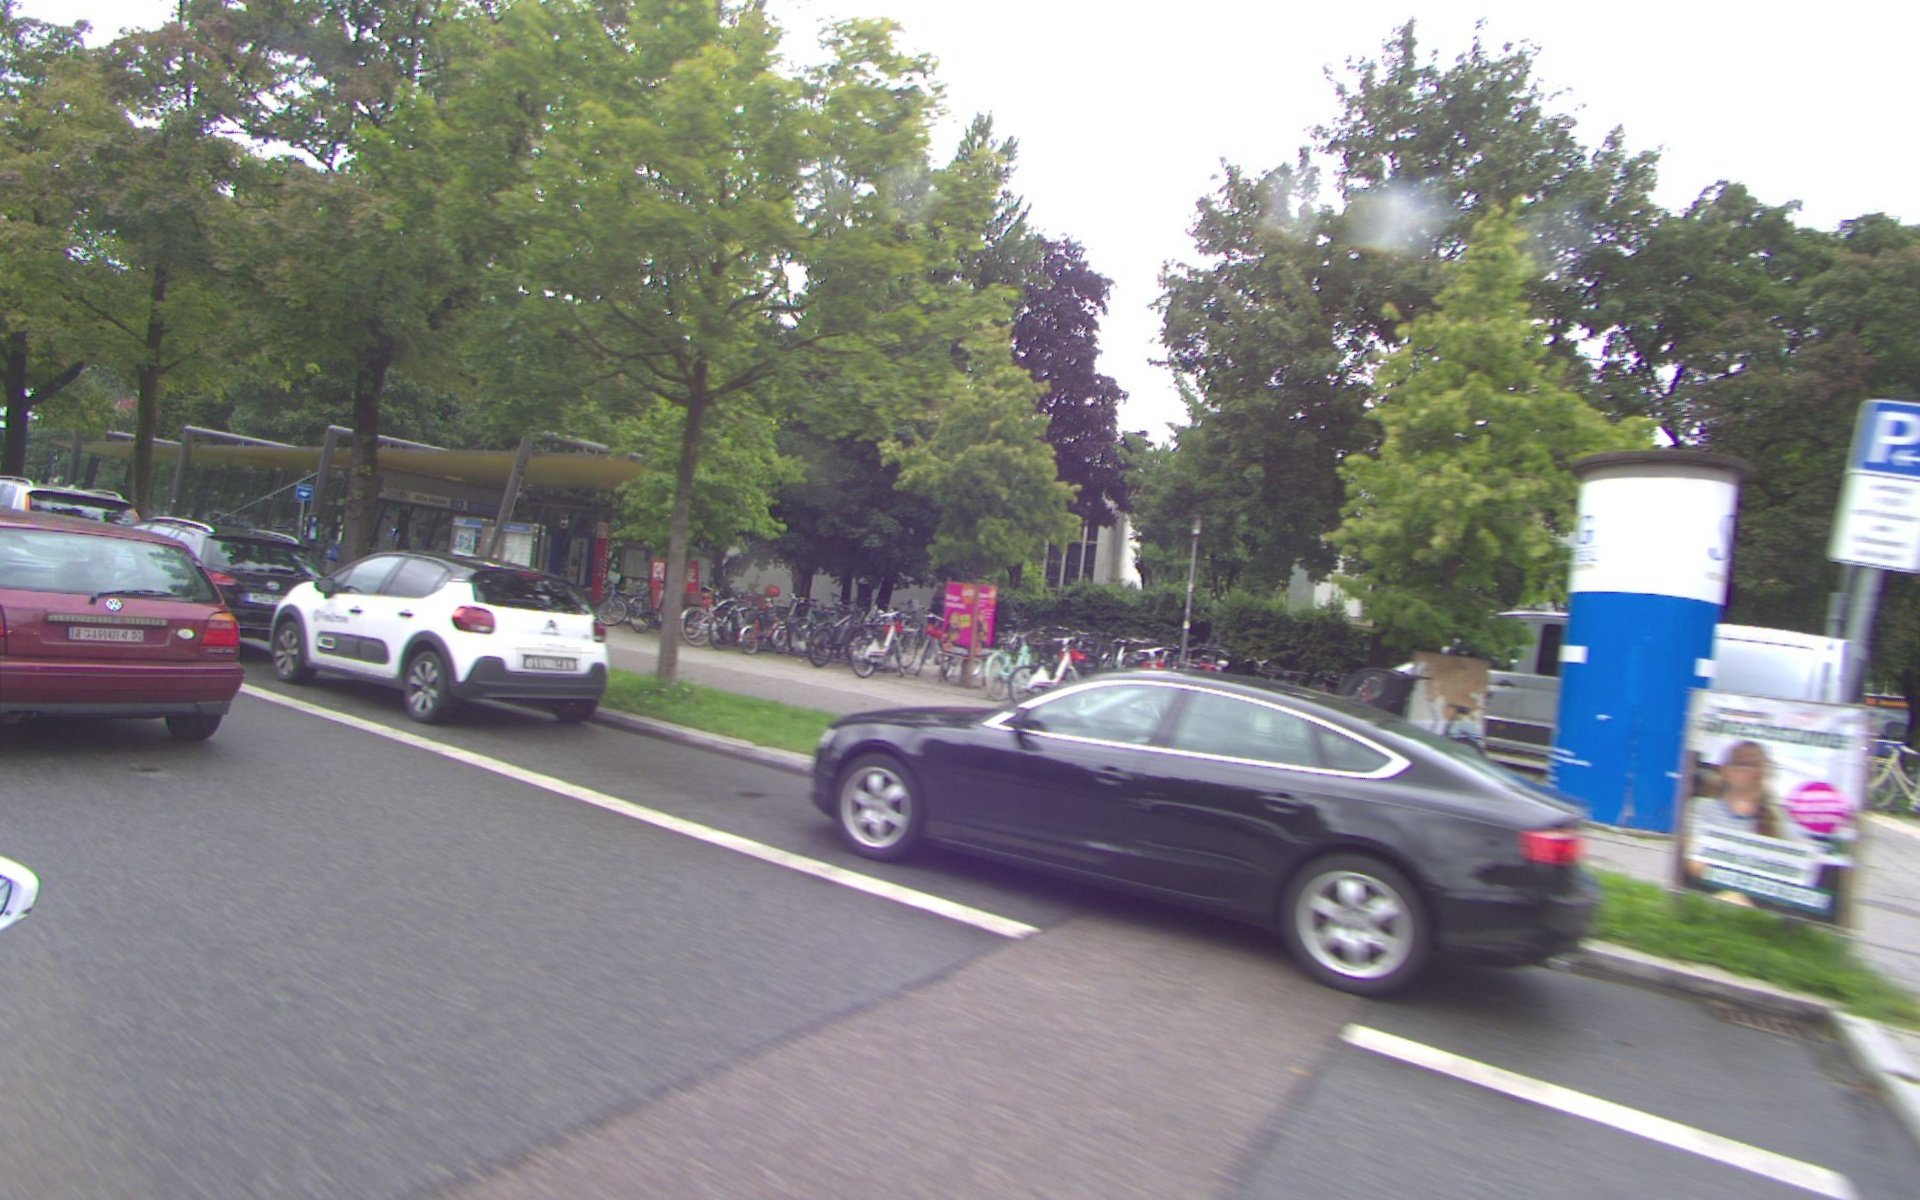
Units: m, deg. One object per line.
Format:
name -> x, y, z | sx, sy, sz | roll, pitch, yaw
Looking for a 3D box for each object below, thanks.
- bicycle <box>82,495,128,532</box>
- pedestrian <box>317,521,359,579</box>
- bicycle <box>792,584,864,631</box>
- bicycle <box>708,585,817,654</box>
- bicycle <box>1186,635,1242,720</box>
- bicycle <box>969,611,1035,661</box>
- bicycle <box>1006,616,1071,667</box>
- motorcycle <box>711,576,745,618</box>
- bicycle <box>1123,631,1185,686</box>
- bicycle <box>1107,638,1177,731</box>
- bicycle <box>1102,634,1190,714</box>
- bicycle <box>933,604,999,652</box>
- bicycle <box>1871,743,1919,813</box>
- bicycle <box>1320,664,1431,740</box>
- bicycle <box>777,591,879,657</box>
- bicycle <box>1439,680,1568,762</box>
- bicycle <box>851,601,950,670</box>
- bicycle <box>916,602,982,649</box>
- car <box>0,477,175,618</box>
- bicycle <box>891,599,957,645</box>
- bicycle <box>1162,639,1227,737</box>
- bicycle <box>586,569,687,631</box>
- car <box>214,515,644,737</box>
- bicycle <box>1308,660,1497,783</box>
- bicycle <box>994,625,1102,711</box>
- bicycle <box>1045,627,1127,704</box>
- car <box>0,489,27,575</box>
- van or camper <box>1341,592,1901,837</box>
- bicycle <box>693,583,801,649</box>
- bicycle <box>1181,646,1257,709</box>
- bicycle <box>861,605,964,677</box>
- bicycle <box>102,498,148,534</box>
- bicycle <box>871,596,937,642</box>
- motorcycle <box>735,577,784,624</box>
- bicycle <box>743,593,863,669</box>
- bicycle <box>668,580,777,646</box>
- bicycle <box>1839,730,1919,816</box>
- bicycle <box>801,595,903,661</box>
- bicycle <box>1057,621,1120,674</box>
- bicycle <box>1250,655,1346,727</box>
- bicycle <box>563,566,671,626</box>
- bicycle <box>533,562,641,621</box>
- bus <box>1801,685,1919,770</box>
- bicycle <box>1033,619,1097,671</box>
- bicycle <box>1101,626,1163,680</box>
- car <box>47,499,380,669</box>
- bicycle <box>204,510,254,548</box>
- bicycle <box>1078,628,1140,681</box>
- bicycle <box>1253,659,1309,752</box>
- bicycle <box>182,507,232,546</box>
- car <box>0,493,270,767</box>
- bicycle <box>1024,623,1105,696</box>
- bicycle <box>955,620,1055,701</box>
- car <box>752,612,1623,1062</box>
bicycle -> -34.913, -3.550, 41.070 | 2.508, 1.297, 0.645 | 7, 1, 32
pedestrian -> -17.702, -1.419, 28.622 | 0.681, 1.532, 0.580 | 7, 1, 13
bicycle -> -4.010, 0.222, 30.356 | 2.308, 1.173, 0.527 | 7, 3, 35
bicycle -> -3.707, 0.379, 19.118 | 0.520, 1.173, 2.339 | 7, 3, 31
bicycle -> 4.190, 1.236, 16.506 | 0.557, 1.228, 1.944 | 7, 2, 20
bicycle -> 1.114, 0.919, 25.814 | 0.520, 1.173, 2.339 | 7, 3, 31
bicycle -> 2.003, 1.031, 25.288 | 0.520, 1.173, 2.339 | 7, 3, 31
motorcycle -> -6.607, -0.103, 28.583 | 0.649, 1.075, 1.805 | 6, 0, -20
bicycle -> 4.553, 1.338, 23.484 | 0.520, 1.173, 2.339 | 7, 3, 31
bicycle -> 2.627, 1.168, 14.385 | 0.557, 1.157, 1.810 | 7, 2, 20
bicycle -> 3.033, 1.182, 16.262 | 0.558, 1.157, 1.804 | 7, 2, 37
bicycle -> 0.194, 0.737, 26.620 | 0.520, 1.173, 2.339 | 7, 3, 31
bicycle -> 17.539, 3.277, 17.723 | 2.084, 1.109, 0.607 | 7, 1, 40
bicycle -> 8.158, 1.987, 19.853 | 0.708, 1.168, 2.120 | 6, 0, -18
bicycle -> -2.573, 0.482, 19.898 | 0.575, 1.173, 2.339 | 7, 3, 31
bicycle -> 10.135, 2.235, 18.881 | 0.708, 1.168, 2.120 | 6, 0, -18
bicycle -> -1.091, 0.670, 19.165 | 0.575, 1.173, 2.339 | 7, 3, 31
bicycle -> -0.264, 0.682, 26.983 | 0.520, 1.173, 2.339 | 7, 3, 31
car -> -14.249, -0.938, 15.483 | 4.825, 1.745, 1.750 | 7, 0, 32
bicycle -> -0.970, 0.603, 27.716 | 0.520, 1.173, 2.339 | 7, 3, 31
bicycle -> 3.410, 1.224, 14.523 | 0.557, 1.228, 1.944 | 7, 2, 20
bicycle -> -6.698, 0.016, 20.971 | 0.519, 1.173, 2.342 | 7, 2, 23
car -> -5.406, 0.178, 10.081 | 4.308, 1.567, 1.715 | 7, 0, 31
bicycle -> 5.642, 1.497, 12.874 | 1.968, 1.214, 0.861 | 7, 2, 36
bicycle -> 1.344, 1.008, 15.035 | 0.559, 1.157, 1.802 | 8, 2, 40
bicycle -> 2.147, 1.084, 16.910 | 0.558, 1.157, 1.807 | 7, 2, 32
car -> -19.478, -1.498, 18.821 | 4.428, 1.527, 1.704 | 7, 0, 31
van or camper -> 8.928, 1.370, 14.296 | 2.133, 2.325, 6.128 | 6, 0, -40
bicycle -> -4.090, 0.322, 19.525 | 0.520, 1.173, 2.339 | 7, 3, 31
bicycle -> 5.865, 1.738, 22.954 | 0.706, 1.168, 2.124 | 7, 0, -11
bicycle -> -0.833, 0.731, 18.369 | 0.575, 1.173, 2.339 | 7, 3, 31
bicycle -> -34.585, -3.491, 41.661 | 2.508, 1.297, 0.645 | 7, 1, 32
bicycle -> -1.524, 0.533, 28.001 | 0.520, 1.173, 2.339 | 7, 3, 31
motorcycle -> -5.764, 0.005, 28.883 | 0.652, 1.192, 1.797 | 6, 1, -33
bicycle -> -2.657, 0.534, 17.310 | 0.575, 1.173, 2.339 | 7, 3, 31
bicycle -> -4.608, 0.273, 19.710 | 0.520, 1.173, 2.339 | 7, 3, 31
bicycle -> 16.405, 3.013, 17.099 | 2.074, 1.266, 0.703 | 7, 1, 5
bicycle -> -2.065, 0.545, 19.586 | 0.575, 1.173, 2.339 | 7, 3, 31
bicycle -> 3.157, 1.136, 24.515 | 0.520, 1.173, 2.339 | 7, 3, 31
bicycle -> 6.799, 1.813, 20.384 | 0.707, 1.168, 2.123 | 6, 0, -13
bicycle -> -7.333, -0.055, 21.649 | 0.520, 1.173, 2.339 | 7, 3, 31
bicycle -> -8.178, -0.158, 22.185 | 0.520, 1.173, 2.339 | 7, 3, 31
bus -> 43.668, 5.984, 48.992 | 2.689, 3.322, 11.858 | 7, 0, 34
bicycle -> 2.643, 1.098, 24.976 | 0.520, 1.173, 2.339 | 7, 3, 31
bicycle -> 4.102, 1.240, 23.851 | 0.520, 1.173, 2.339 | 7, 3, 31
car -> -9.556, -0.251, 12.774 | 4.564, 1.568, 1.748 | 7, 2, 31
bicycle -> -29.304, -2.867, 40.322 | 2.508, 1.297, 0.645 | 7, 1, 32
bicycle -> 3.606, 1.282, 24.170 | 0.520, 1.173, 2.339 | 7, 3, 31
bicycle -> 4.498, 1.431, 14.038 | 0.557, 1.085, 1.810 | 7, 2, 20
bicycle -> -29.692, -2.906, 39.661 | 2.508, 1.297, 0.645 | 7, 1, 32
car -> -6.615, 0.013, 6.850 | 3.884, 1.472, 1.624 | 7, 0, 31
bicycle -> 1.853, 1.030, 17.607 | 0.558, 1.157, 1.807 | 7, 2, 32
bicycle -> 0.743, 0.958, 15.975 | 0.558, 1.157, 1.804 | 7, 2, 37
car -> 1.119, 1.066, 6.047 | 4.543, 1.376, 1.713 | 7, -1, 30
